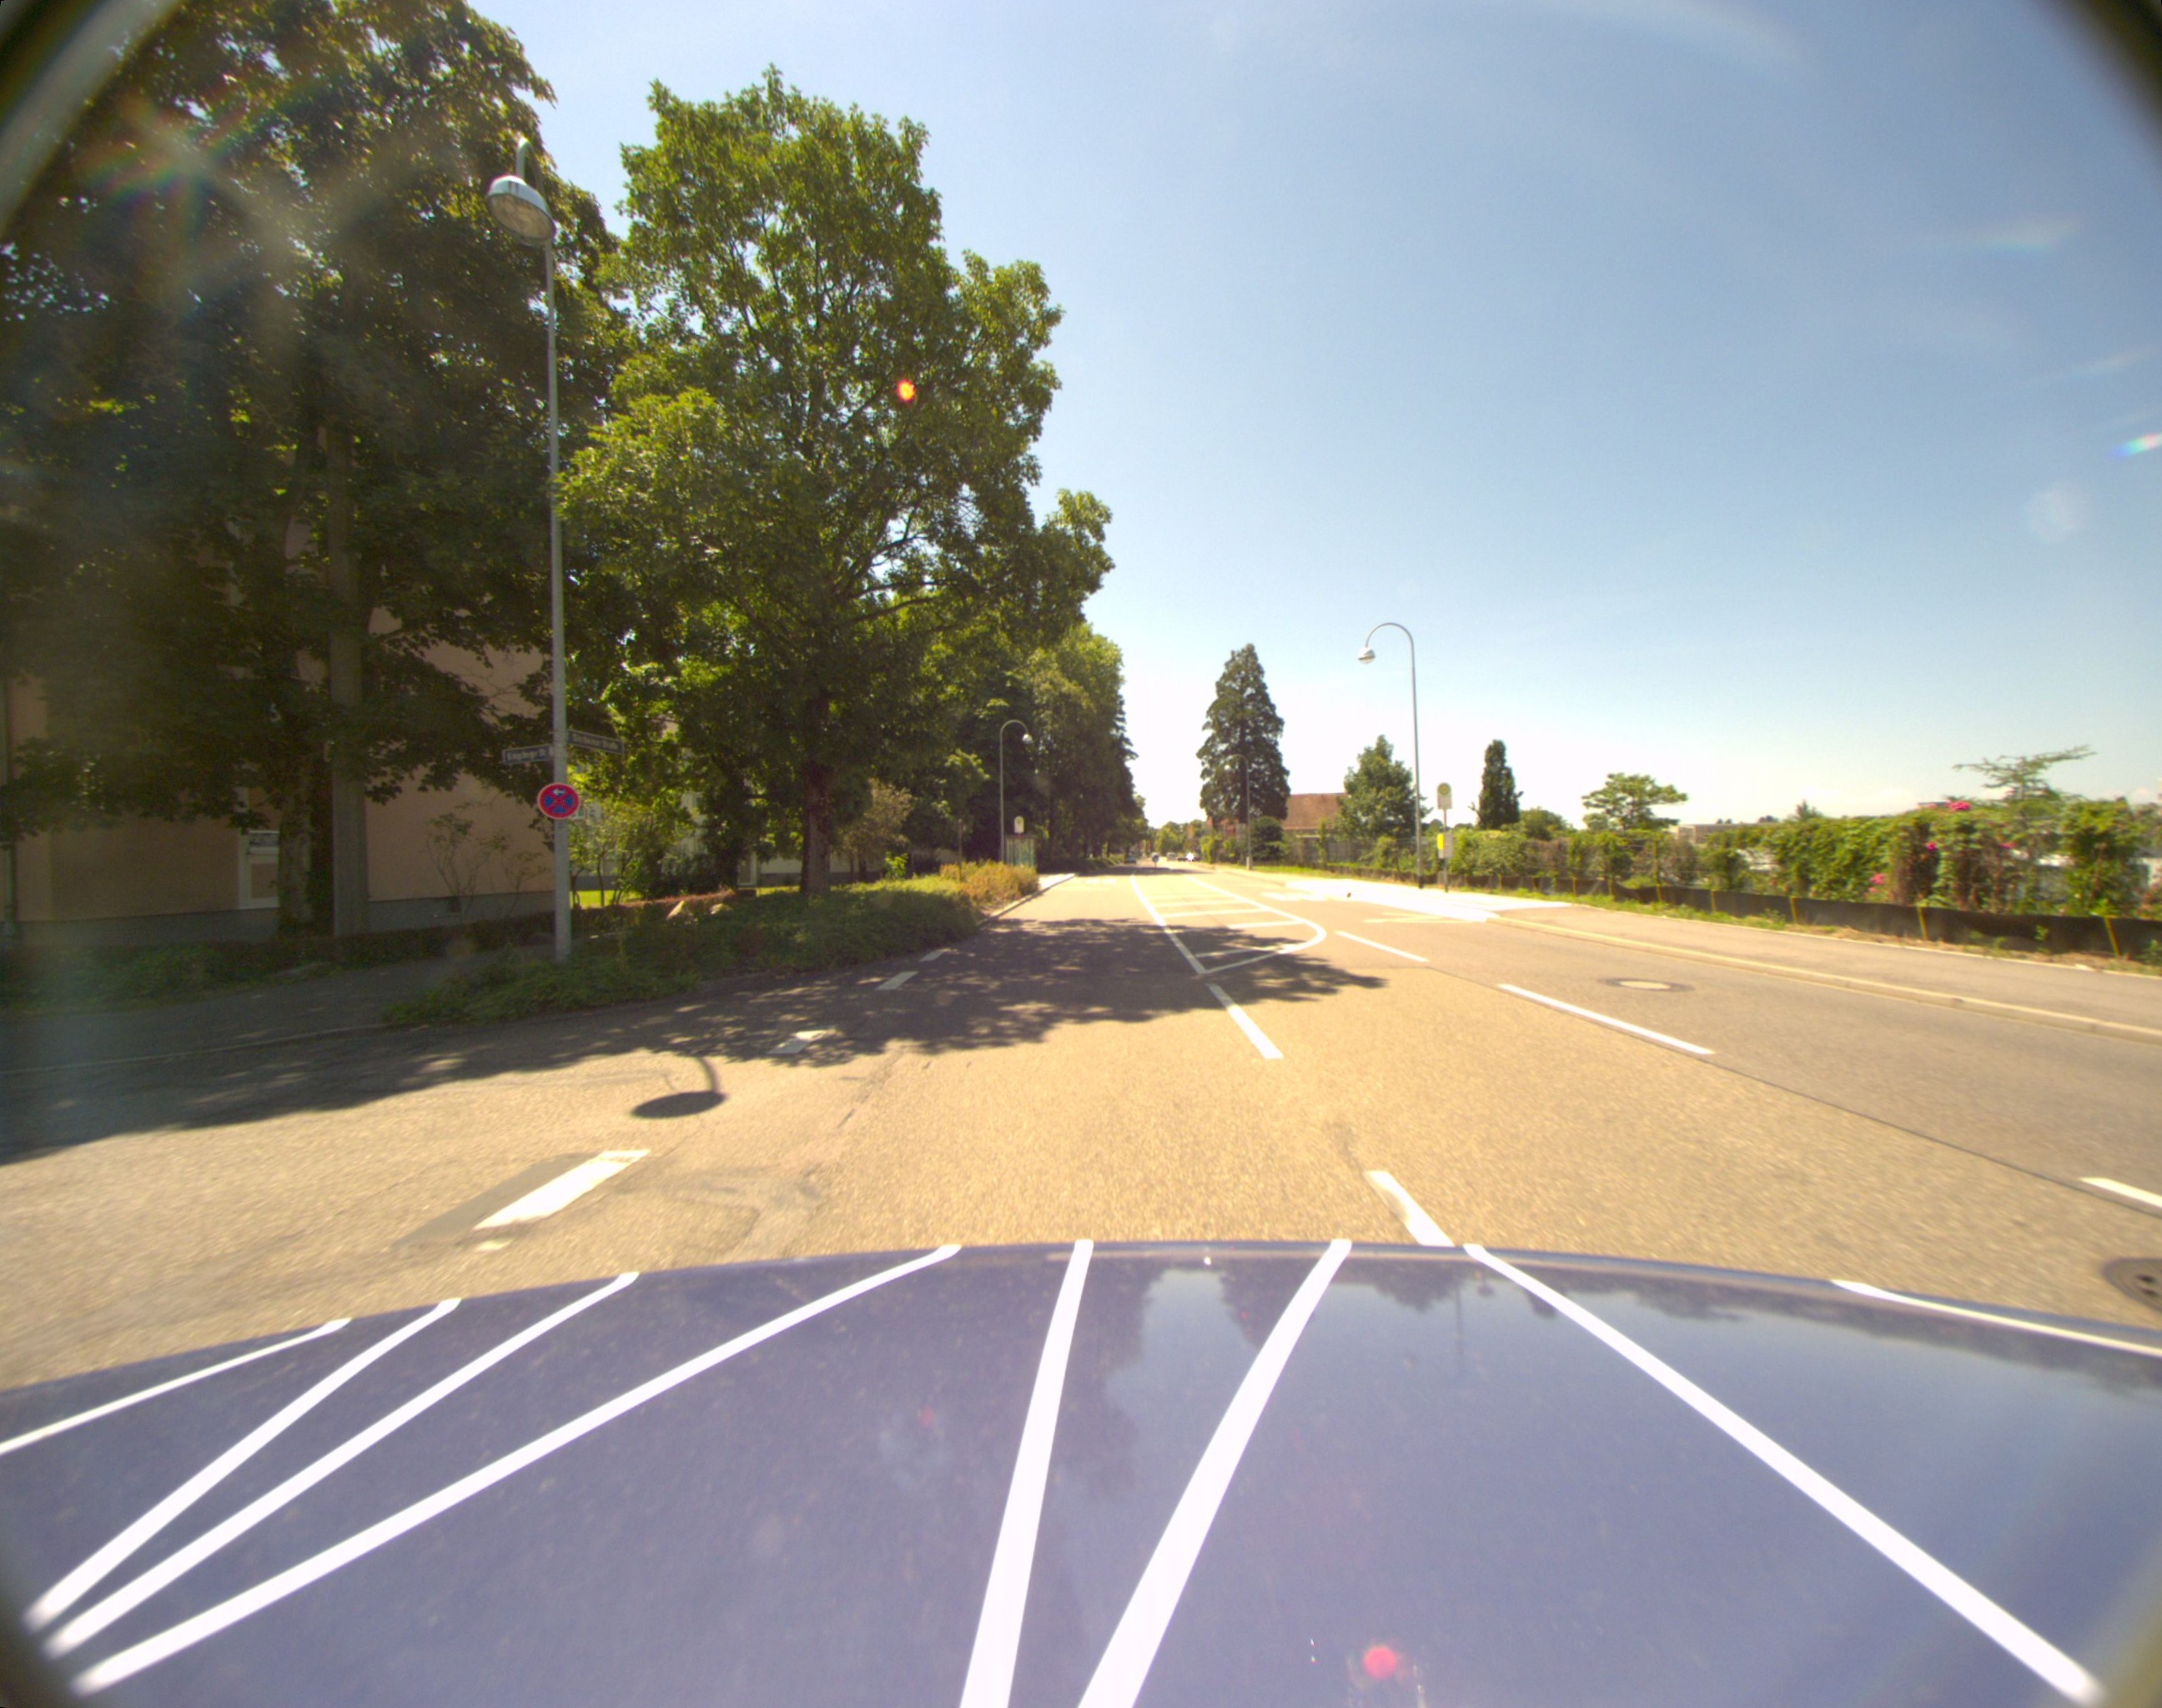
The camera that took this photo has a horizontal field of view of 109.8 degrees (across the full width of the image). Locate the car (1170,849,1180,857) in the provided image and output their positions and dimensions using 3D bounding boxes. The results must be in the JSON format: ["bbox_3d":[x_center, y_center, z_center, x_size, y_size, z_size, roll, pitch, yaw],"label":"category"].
[{"bbox_3d":[19.048,-0.233,154.652,1.787,1.635,4.690,1,1,4],"label":"car"}]

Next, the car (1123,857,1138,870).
[{"bbox_3d":[7.086,1.339,108.193,1.883,1.623,4.323,0,1,7],"label":"car"}]
